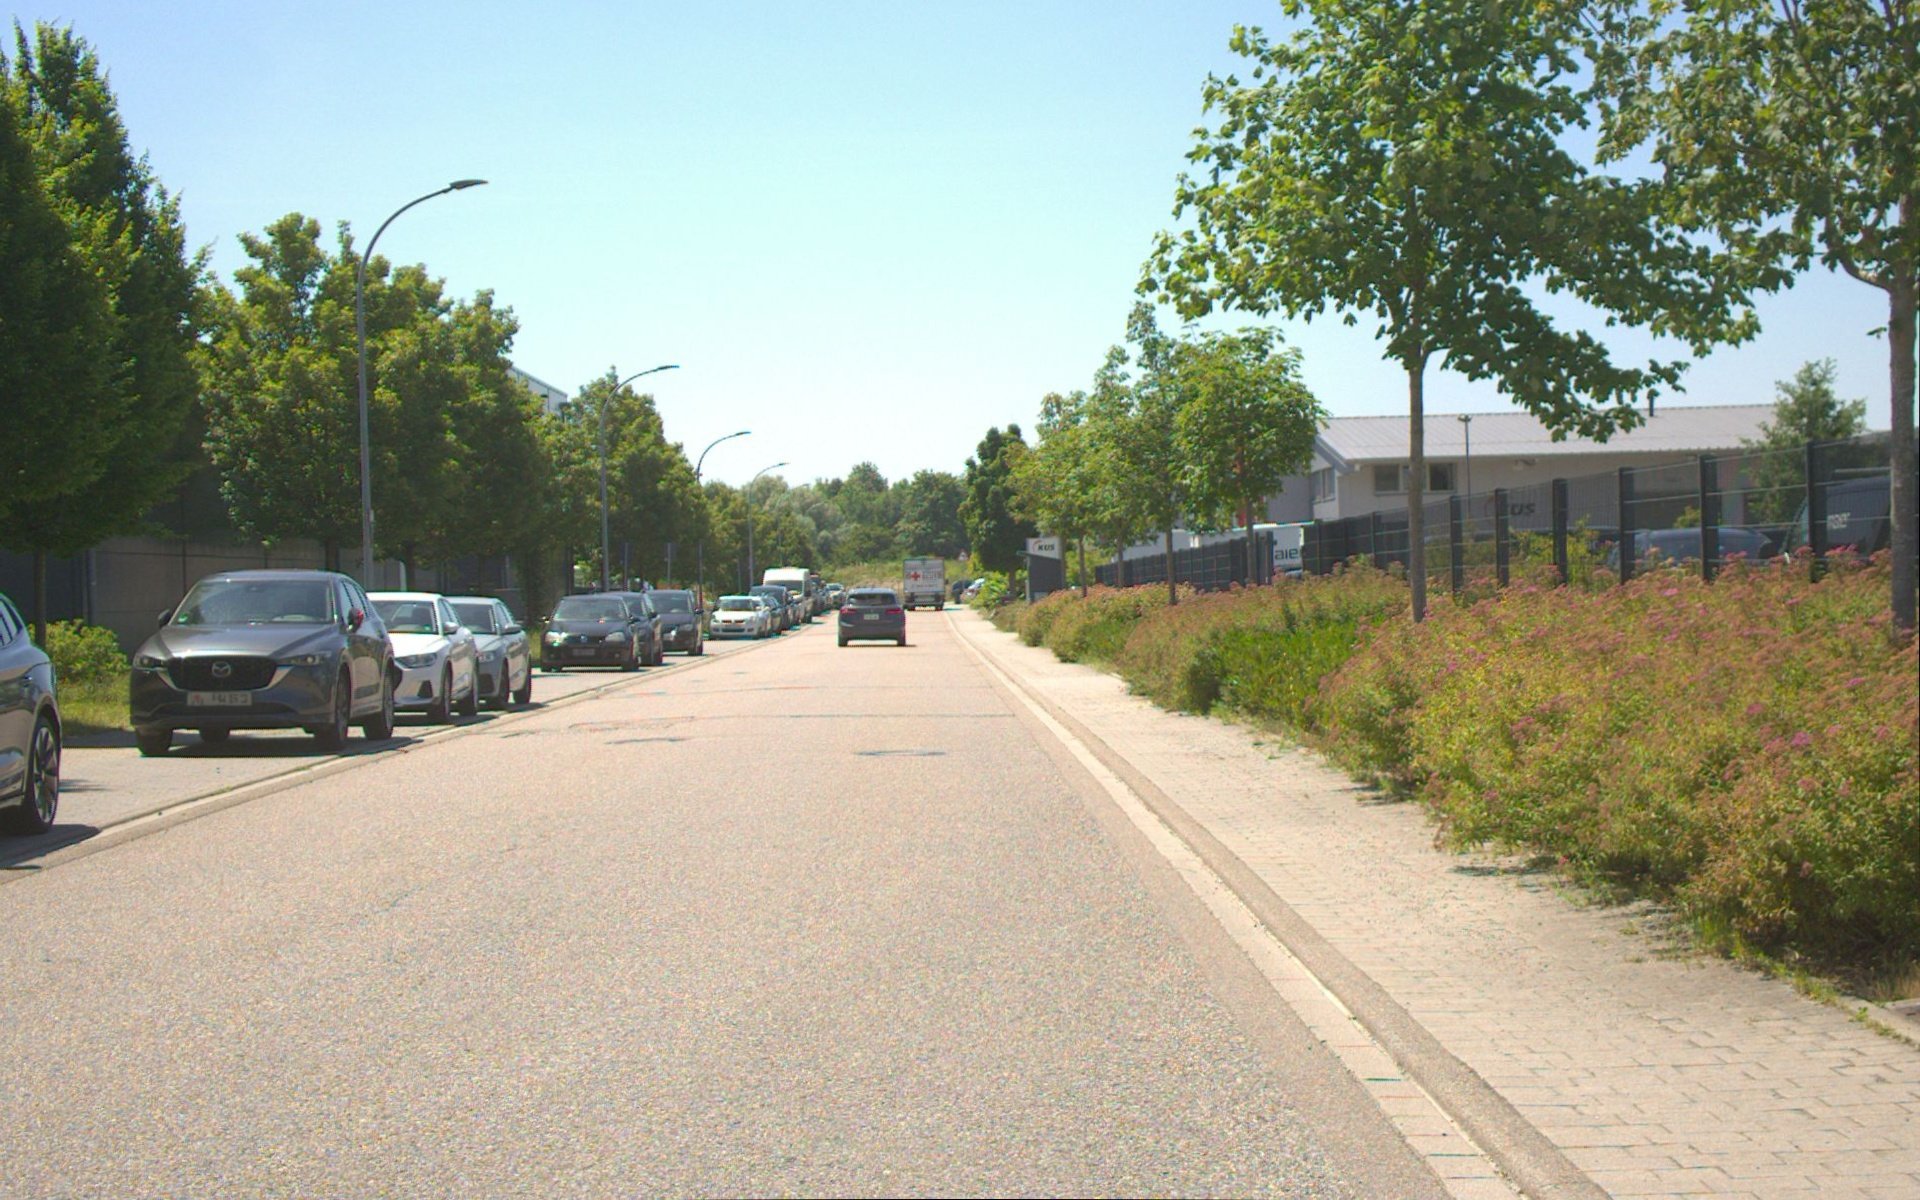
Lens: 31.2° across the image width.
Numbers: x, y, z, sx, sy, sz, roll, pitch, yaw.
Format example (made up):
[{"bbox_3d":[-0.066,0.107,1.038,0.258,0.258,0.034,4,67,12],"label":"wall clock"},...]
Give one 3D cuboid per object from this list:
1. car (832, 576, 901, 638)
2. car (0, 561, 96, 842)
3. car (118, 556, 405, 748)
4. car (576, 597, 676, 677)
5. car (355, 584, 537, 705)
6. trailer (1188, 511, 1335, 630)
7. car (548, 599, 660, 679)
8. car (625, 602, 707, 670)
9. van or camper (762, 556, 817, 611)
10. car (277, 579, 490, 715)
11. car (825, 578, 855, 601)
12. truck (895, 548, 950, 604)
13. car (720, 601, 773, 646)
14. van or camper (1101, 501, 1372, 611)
[{"bbox_3d":[-2.510,0.191,92.850,1.789,1.618,3.809,1,-1,-1],"label":"car"},{"bbox_3d":[-6.297,0.589,19.343,1.771,1.582,4.481,-1,0,-1],"label":"car"},{"bbox_3d":[-6.399,0.423,31.976,1.771,1.618,4.582,-1,1,-1],"label":"car"},{"bbox_3d":[-7.025,0.774,72.634,1.770,1.606,4.852,-1,0,-2],"label":"car"},{"bbox_3d":[-6.555,0.536,44.189,1.771,1.426,3.940,-1,1,-1],"label":"car"},{"bbox_3d":[6.448,-0.623,73.693,2.822,2.395,1.420,-3,0,-5],"label":"trailer"},{"bbox_3d":[-6.897,0.726,66.863,1.771,1.426,4.201,-1,1,-1],"label":"car"},{"bbox_3d":[-7.238,0.886,85.025,1.770,1.606,4.247,-1,0,-2],"label":"car"},{"bbox_3d":[-7.890,-0.742,159.567,2.078,2.475,6.130,1,-1,2],"label":"van or camper"},{"bbox_3d":[-6.545,0.496,39.447,1.771,1.426,4.201,-1,1,-1],"label":"car"},{"bbox_3d":[-8.210,-0.722,236.190,1.799,1.482,4.252,-1,0,1],"label":"car"},{"bbox_3d":[-2.048,-1.302,189.560,2.933,2.964,6.419,1,-1,0],"label":"truck"},{"bbox_3d":[-7.270,0.808,117.234,1.720,1.471,3.858,-1,0,-3],"label":"car"},{"bbox_3d":[7.200,-1.127,90.026,6.757,2.576,2.636,-2,-1,-1],"label":"van or camper"}]
